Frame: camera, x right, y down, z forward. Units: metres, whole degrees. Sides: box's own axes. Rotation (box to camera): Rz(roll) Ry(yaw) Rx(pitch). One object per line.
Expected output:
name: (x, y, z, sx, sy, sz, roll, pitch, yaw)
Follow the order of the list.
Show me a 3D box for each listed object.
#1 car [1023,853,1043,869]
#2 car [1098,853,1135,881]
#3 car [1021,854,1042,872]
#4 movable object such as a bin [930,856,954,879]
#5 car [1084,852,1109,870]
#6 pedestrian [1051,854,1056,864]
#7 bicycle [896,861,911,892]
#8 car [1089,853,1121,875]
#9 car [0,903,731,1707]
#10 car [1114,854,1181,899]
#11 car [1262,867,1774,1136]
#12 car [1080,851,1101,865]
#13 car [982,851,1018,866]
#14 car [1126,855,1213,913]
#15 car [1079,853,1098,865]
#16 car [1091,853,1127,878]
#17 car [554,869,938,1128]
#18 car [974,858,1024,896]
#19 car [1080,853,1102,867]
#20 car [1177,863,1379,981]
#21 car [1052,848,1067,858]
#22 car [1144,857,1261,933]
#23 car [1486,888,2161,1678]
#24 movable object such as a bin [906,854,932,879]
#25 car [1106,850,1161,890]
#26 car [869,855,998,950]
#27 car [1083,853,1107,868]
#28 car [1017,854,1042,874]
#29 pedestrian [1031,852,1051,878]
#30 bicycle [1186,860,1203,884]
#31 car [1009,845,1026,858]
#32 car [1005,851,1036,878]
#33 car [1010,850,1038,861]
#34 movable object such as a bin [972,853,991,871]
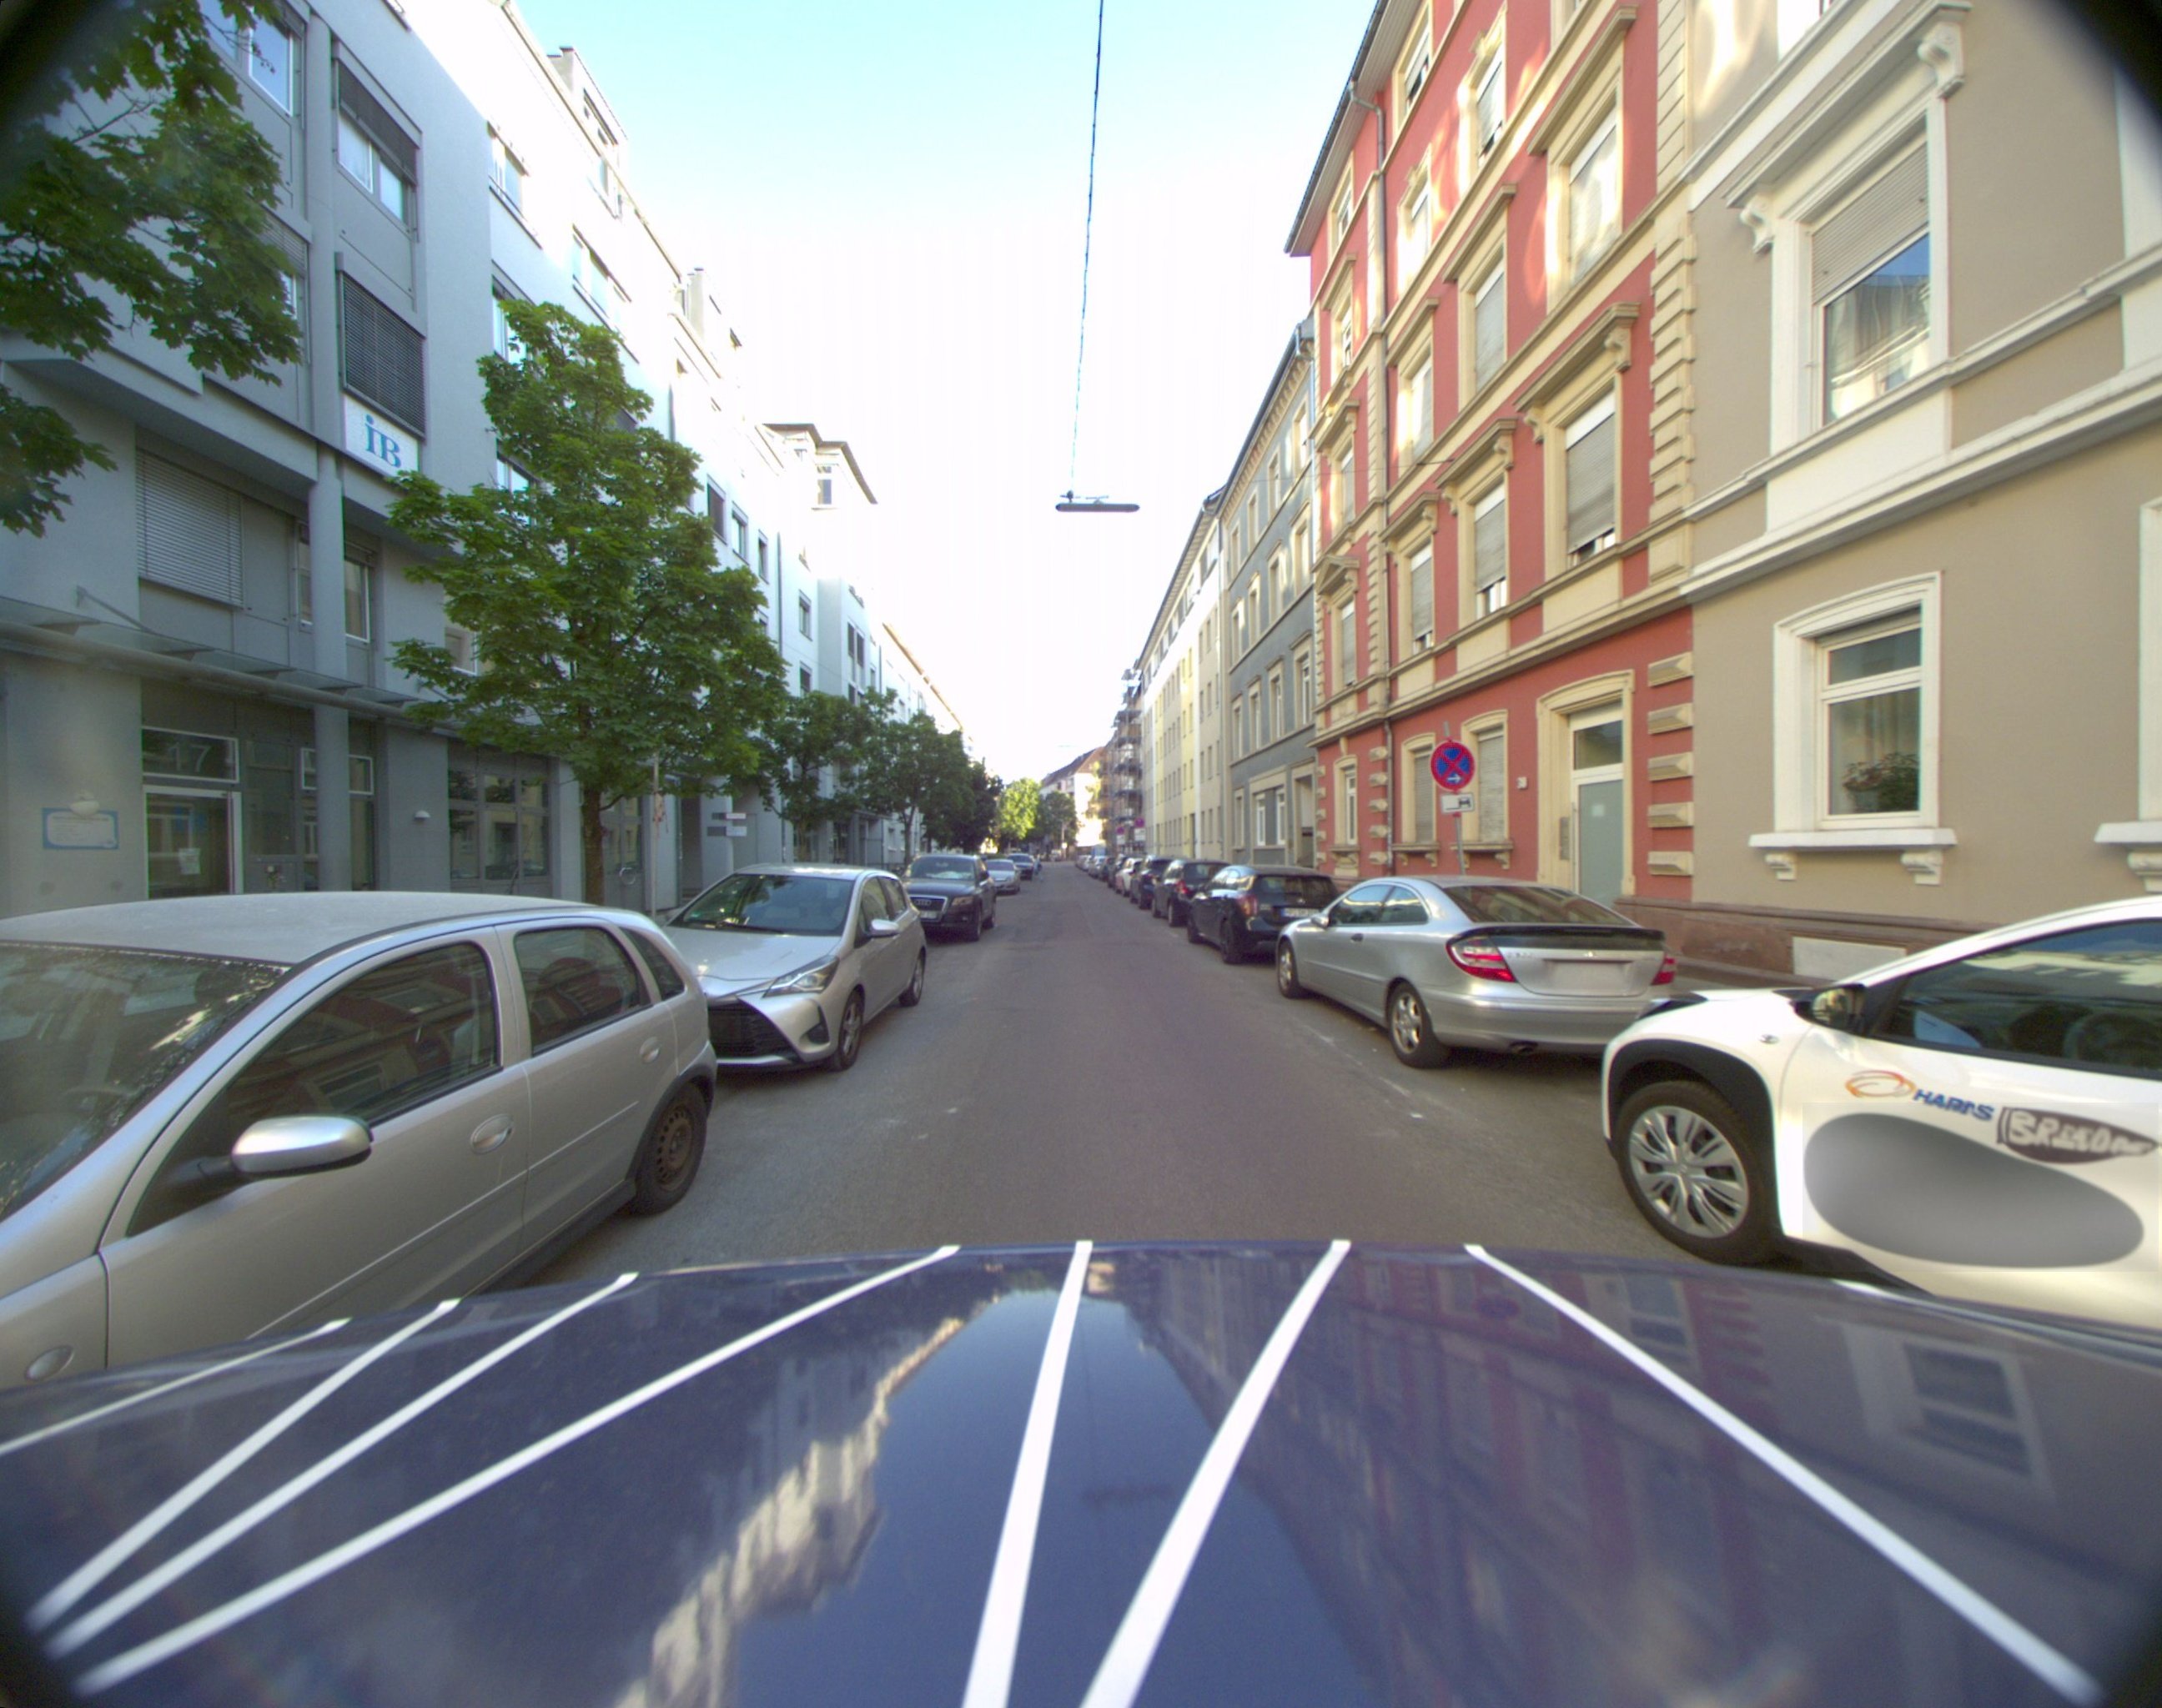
car: (-4.405, 0.644, 70.465, 1.681, 1.411, 4.134, 1, 0, -2)
car: (2.039, 0.716, 44.275, 1.784, 1.480, 4.419, 1, 0, -2)
car: (-4.159, 0.733, 64.282, 1.681, 1.411, 4.135, 1, 0, -2)
movable object such as a bin: (-8.230, 0.775, 44.992, 1.265, 1.313, 1.138, 0, 1, -2)
car: (1.383, 0.600, 68.936, 1.999, 1.496, 3.998, 1, 0, -3)
pedestrian: (-4.014, 0.723, 110.544, 0.749, 1.455, 0.802, -2, 1, -2)
bicycle: (-7.058, 0.882, 30.236, 0.522, 1.161, 1.738, 1, 1, -12)
car: (1.674, 0.676, 54.491, 1.928, 1.480, 4.615, 1, 0, -3)
car: (-2.599, 1.000, 1.872, 1.680, 1.467, 3.729, 1, 0, 1)
car: (2.429, 0.795, 28.840, 1.926, 1.551, 4.266, 1, 0, -3)
car: (3.180, 0.945, 6.757, 1.926, 1.551, 4.266, 1, 0, -3)
car: (1.010, 0.438, 84.493, 1.999, 1.423, 3.998, 1, 0, -3)
car: (-9.302, 0.503, 87.766, 3.998, 1.556, 1.999, 1, 1, -4)
car: (2.558, 0.833, 22.939, 1.926, 1.551, 4.266, 1, 0, -3)
car: (0.863, 0.568, 89.162, 1.999, 1.423, 3.998, 1, 0, -3)
car: (1.746, 0.689, 49.123, 1.928, 1.480, 4.616, 1, 0, -2)
car: (-2.486, 0.951, 6.778, 1.681, 1.516, 3.970, 1, 0, 0)
car: (-3.381, 0.904, 32.062, 1.768, 1.421, 4.343, 1, 0, -2)
car: (1.053, 0.622, 79.073, 1.999, 1.423, 3.998, 1, 0, -3)
car: (2.874, 0.929, 12.151, 1.926, 1.475, 4.266, 1, 0, -3)
car: (-3.809, -0.176, 131.654, 2.081, 1.760, 4.214, 1, 0, -8)
car: (2.747, 0.877, 18.124, 1.906, 1.551, 4.239, 1, 0, -3)
car: (3.170, 0.946, 1.956, 1.925, 1.498, 4.267, 1, 0, 0)
movable object such as a bin: (-9.528, 0.716, 44.700, 1.265, 1.428, 1.138, 0, 1, -2)
car: (2.301, 0.686, 34.217, 1.926, 1.654, 4.467, 1, 0, -3)
car: (-2.839, 0.863, 15.591, 1.890, 1.613, 4.433, 1, 0, -2)
car: (1.301, 0.614, 73.764, 1.999, 1.439, 3.998, 1, 0, -3)
car: (-3.999, 0.760, 59.336, 1.680, 1.474, 3.652, 1, 0, 1)
pedestrian: (-2.265, 0.611, 43.133, 0.868, 1.455, 0.803, 1, 1, 19)
bicycle: (5.280, 0.822, 35.516, 0.451, 1.068, 1.751, -2, 1, -1)
car: (-11.735, -0.535, 140.157, 2.163, 2.270, 6.199, 1, 0, -15)
car: (-3.821, 0.647, 48.732, 1.876, 1.626, 4.720, 1, 0, -3)
car: (-9.379, 0.306, 126.029, 4.211, 1.760, 2.083, 1, 1, 10)
movable object such as a bin: (-7.777, 0.616, 59.450, 1.288, 1.428, 1.223, 0, 1, -2)
